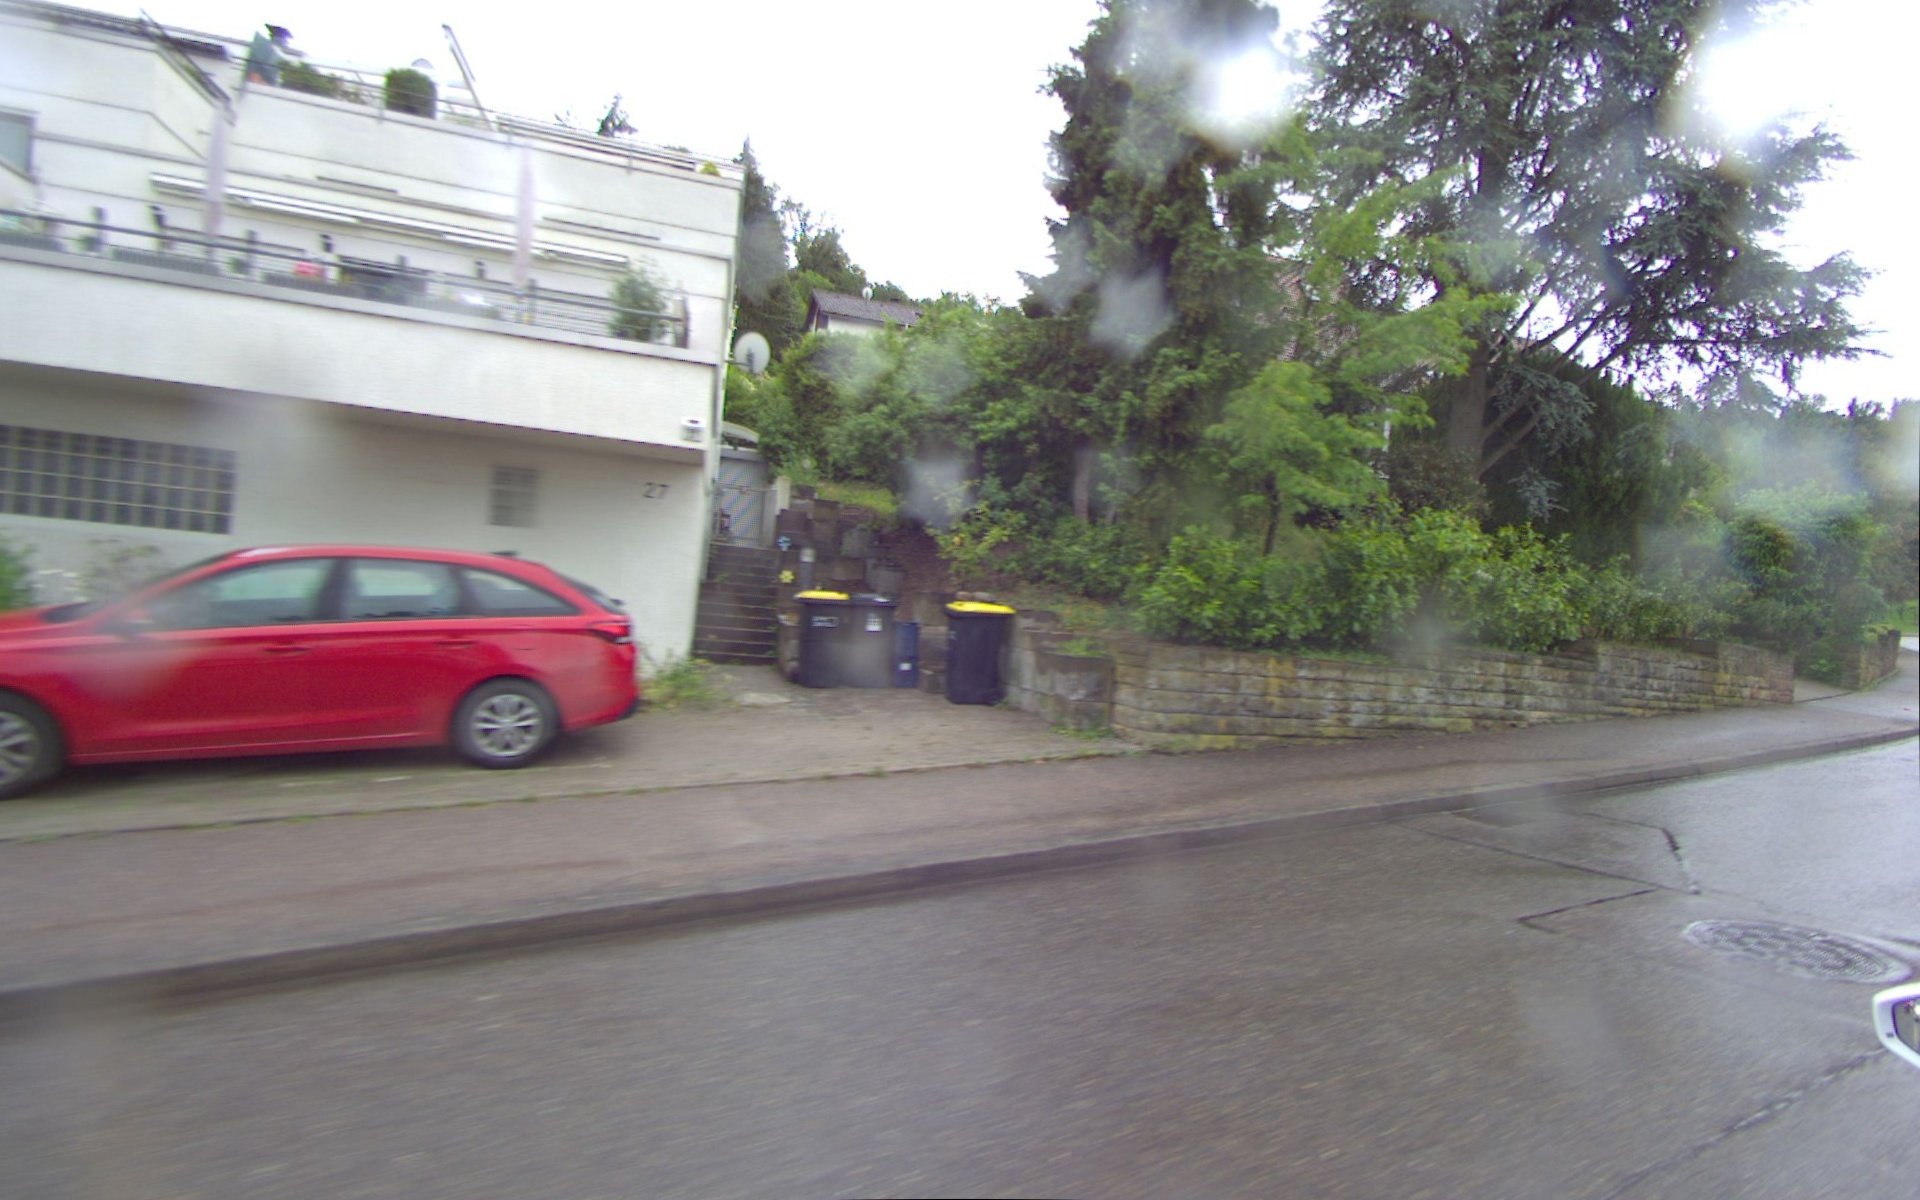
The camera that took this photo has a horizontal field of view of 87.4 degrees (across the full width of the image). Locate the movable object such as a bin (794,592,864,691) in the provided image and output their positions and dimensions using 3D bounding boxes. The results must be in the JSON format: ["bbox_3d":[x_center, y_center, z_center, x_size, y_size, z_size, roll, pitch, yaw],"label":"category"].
[{"bbox_3d":[-1.502,0.467,11.478,0.672,1.070,0.577,2,2,-19],"label":"movable object such as a bin"}]

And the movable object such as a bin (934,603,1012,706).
[{"bbox_3d":[0.137,0.586,10.984,0.672,1.070,0.577,2,2,-19],"label":"movable object such as a bin"}]

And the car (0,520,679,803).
[{"bbox_3d":[-4.439,0.321,6.851,4.534,1.456,1.765,1,5,-30],"label":"car"}]

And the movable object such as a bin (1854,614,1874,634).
[{"bbox_3d":[53.002,1.400,58.909,0.732,1.108,0.754,4,2,37],"label":"movable object such as a bin"}]

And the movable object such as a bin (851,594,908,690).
[{"bbox_3d":[-0.943,0.484,11.697,0.513,1.070,0.577,2,2,-18],"label":"movable object such as a bin"}]

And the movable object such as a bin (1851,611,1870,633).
[{"bbox_3d":[53.521,1.309,59.716,0.732,1.270,0.754,4,2,37],"label":"movable object such as a bin"}]

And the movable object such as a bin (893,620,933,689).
[{"bbox_3d":[-0.557,0.642,11.932,0.361,0.778,0.389,2,2,-18],"label":"movable object such as a bin"}]
